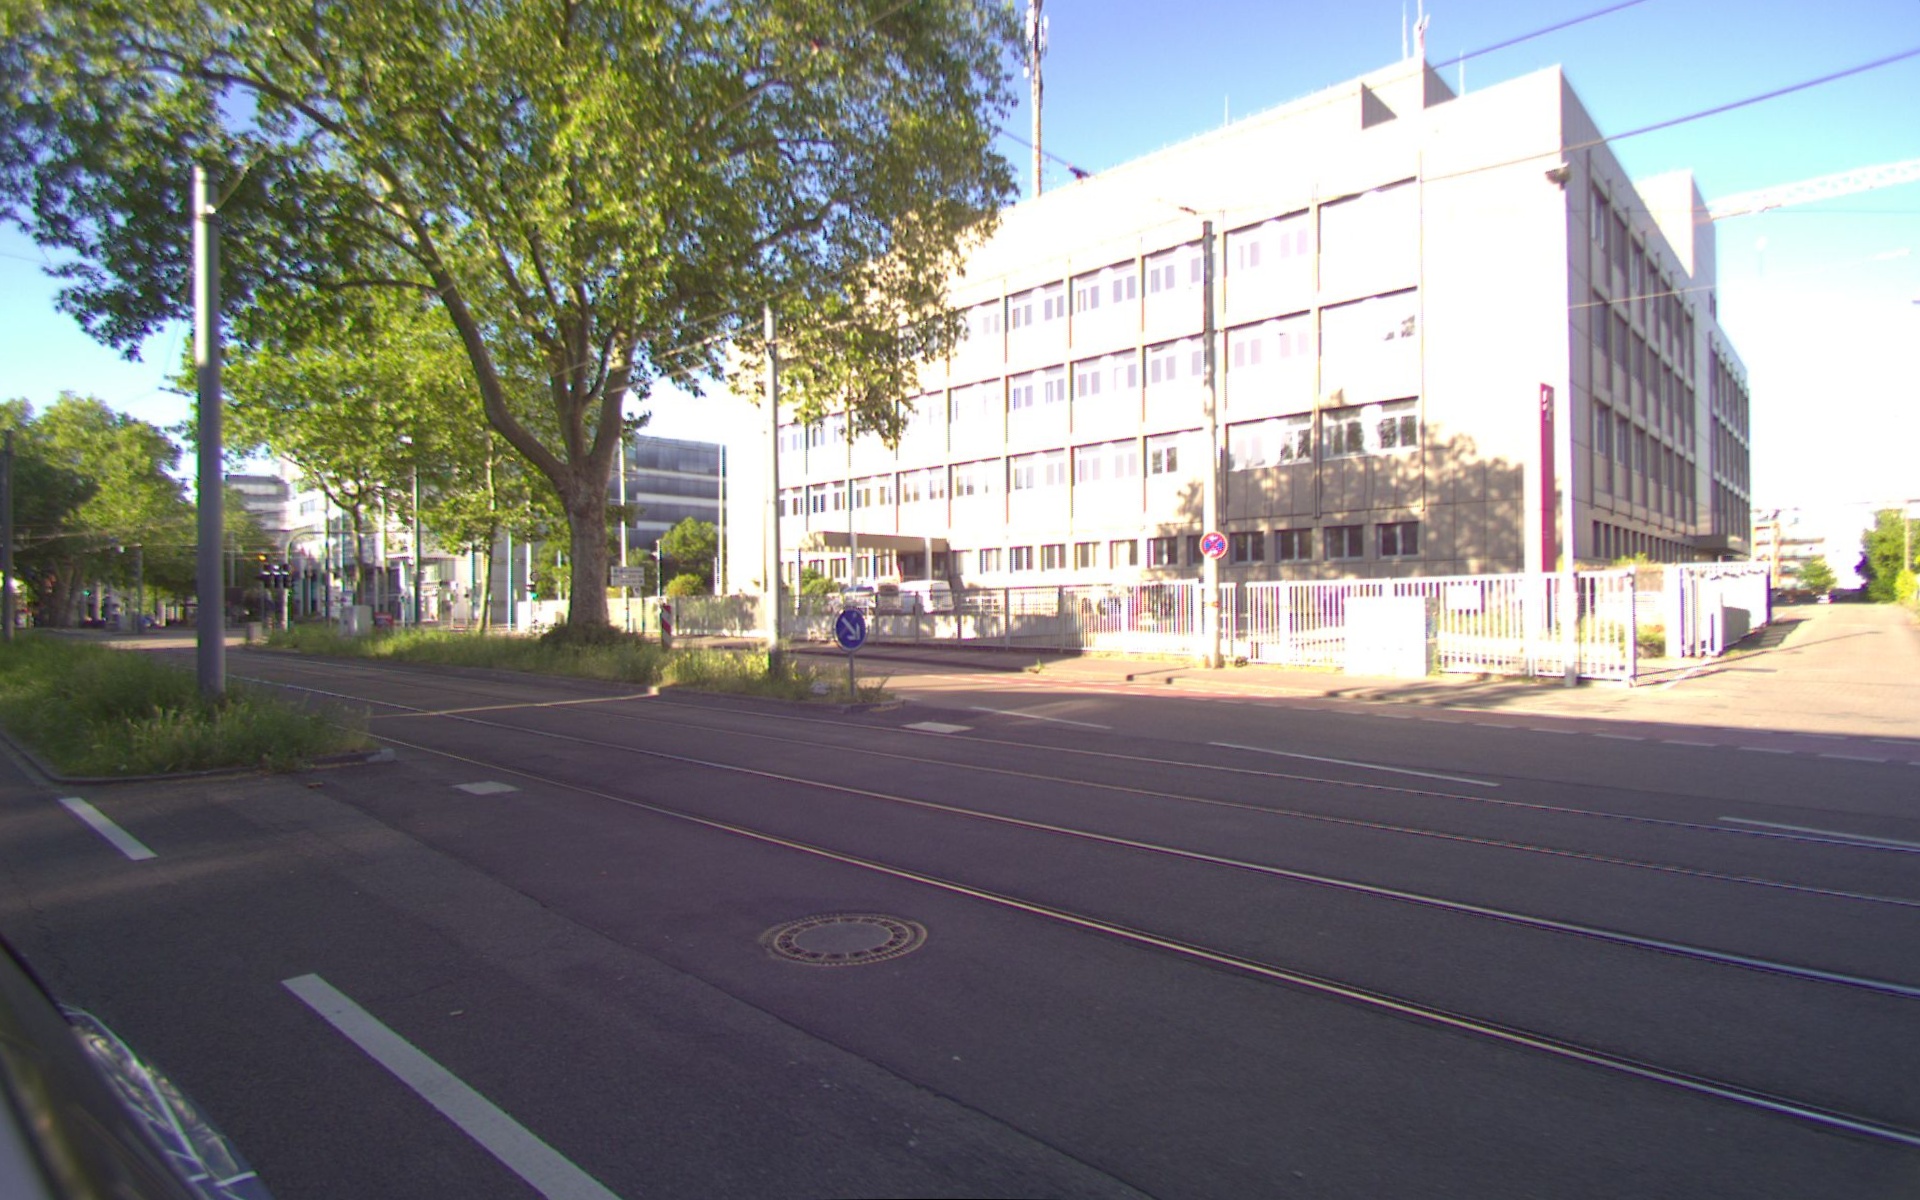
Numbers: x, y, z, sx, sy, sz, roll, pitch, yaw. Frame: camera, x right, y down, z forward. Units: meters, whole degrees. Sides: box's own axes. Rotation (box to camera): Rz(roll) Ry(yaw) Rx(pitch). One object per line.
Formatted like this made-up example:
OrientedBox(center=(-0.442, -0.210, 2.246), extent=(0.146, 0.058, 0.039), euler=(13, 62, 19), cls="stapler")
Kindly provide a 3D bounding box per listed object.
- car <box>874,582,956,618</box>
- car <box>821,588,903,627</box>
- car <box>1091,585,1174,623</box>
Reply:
OrientedBox(center=(-2.292, 0.026, 51.038), extent=(4.000, 1.765, 1.827), euler=(-1, 0, 43), cls="car")
OrientedBox(center=(-4.803, 0.349, 49.317), extent=(4.000, 1.831, 1.827), euler=(-1, 0, 43), cls="car")
OrientedBox(center=(8.152, 0.161, 47.619), extent=(1.853, 1.732, 4.221), euler=(-1, 0, 42), cls="car")
